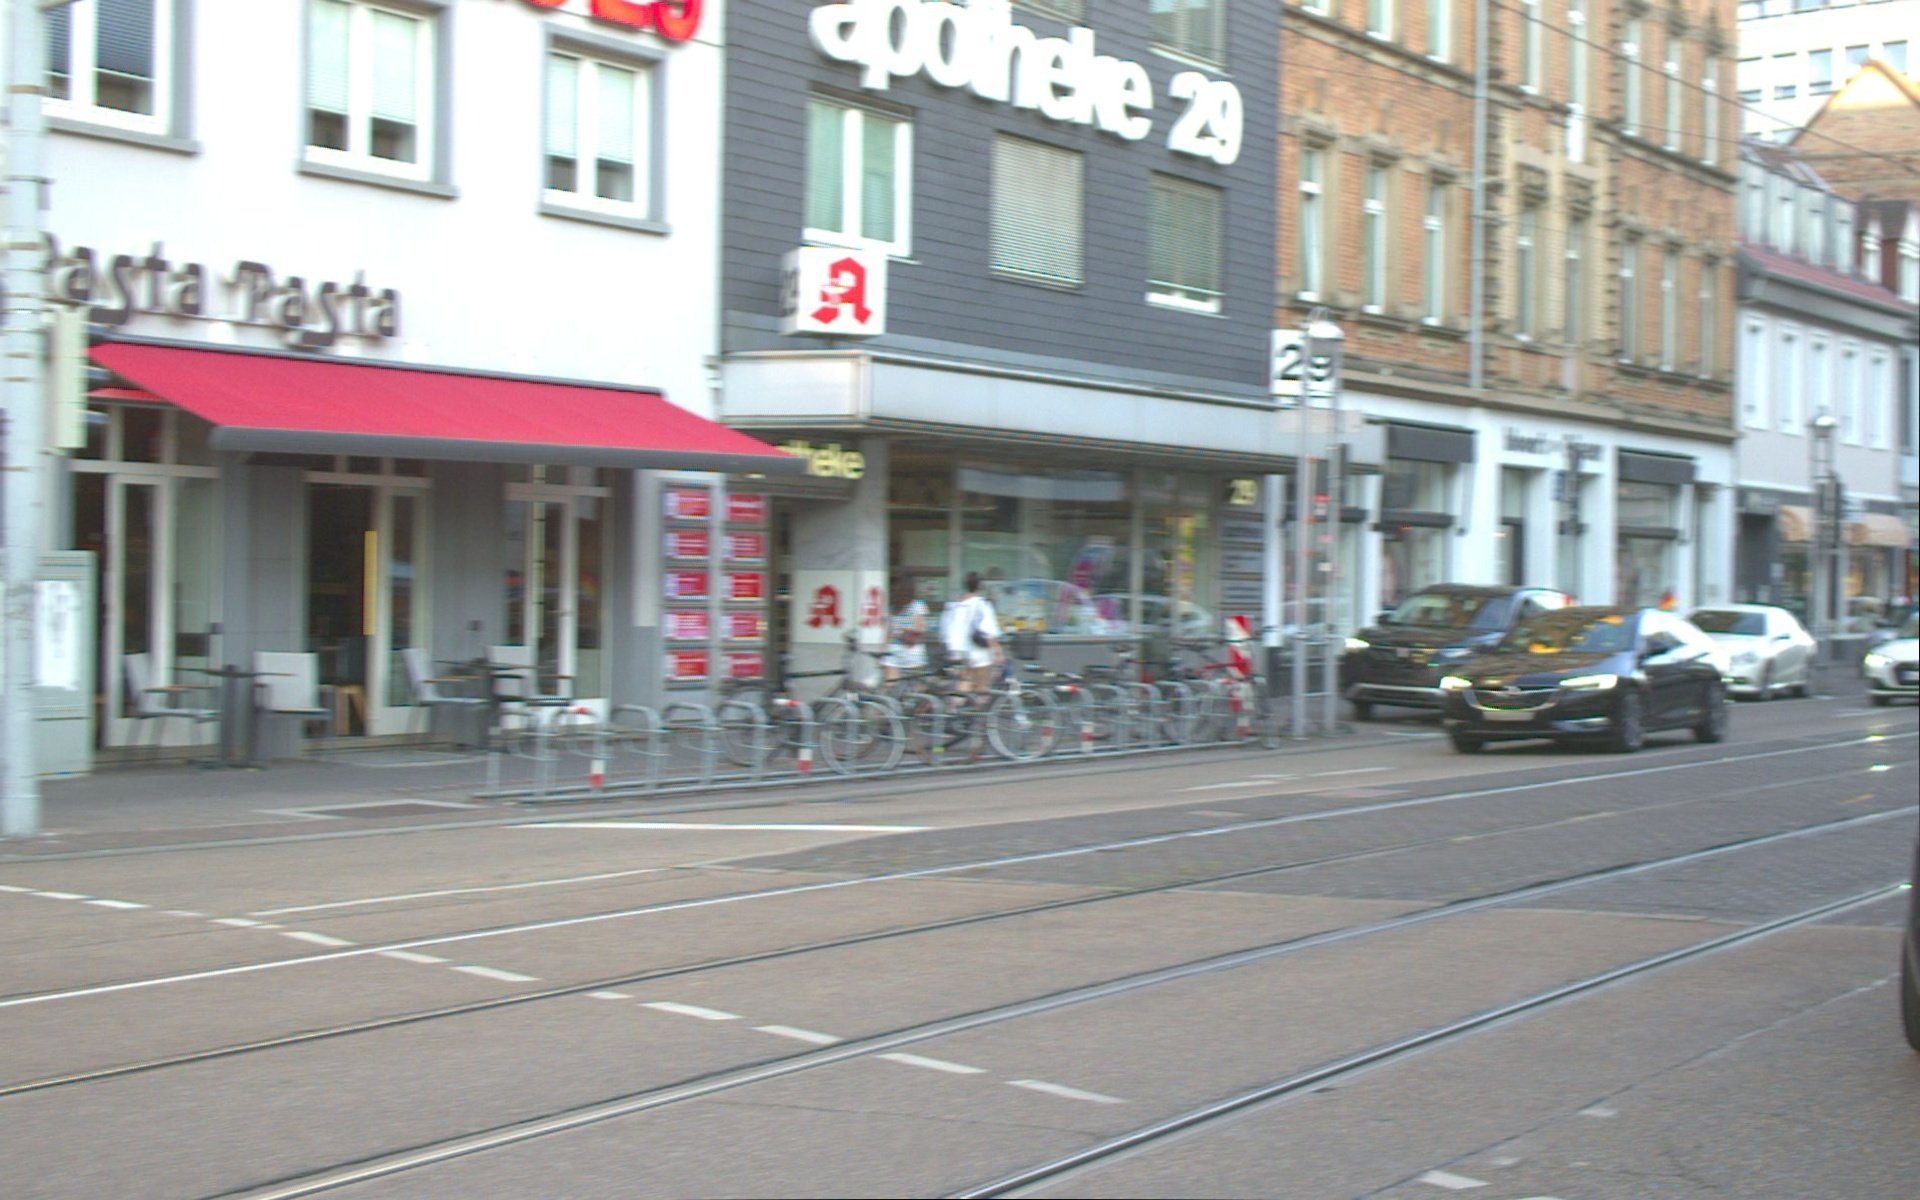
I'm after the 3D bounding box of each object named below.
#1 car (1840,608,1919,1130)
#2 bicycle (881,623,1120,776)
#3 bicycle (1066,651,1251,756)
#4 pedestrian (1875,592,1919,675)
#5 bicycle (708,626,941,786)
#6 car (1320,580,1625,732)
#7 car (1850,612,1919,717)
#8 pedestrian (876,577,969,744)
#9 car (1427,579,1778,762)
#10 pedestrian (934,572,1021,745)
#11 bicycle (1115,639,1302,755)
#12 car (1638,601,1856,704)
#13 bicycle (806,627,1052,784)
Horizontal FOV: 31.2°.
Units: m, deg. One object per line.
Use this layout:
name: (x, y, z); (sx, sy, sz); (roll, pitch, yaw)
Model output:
car: (4.423, 0.842, 11.568); (1.956, 1.493, 4.458); (2, 0, 26)
bicycle: (0.359, 0.888, 31.243); (2.116, 1.219, 0.552); (4, 2, 30)
bicycle: (1.984, 1.030, 34.531); (1.808, 0.909, 0.455); (4, 3, 30)
pedestrian: (18.890, 0.669, 69.300); (0.663, 1.638, 0.693); (1, 0, 30)
bicycle: (-1.147, 0.874, 28.833); (1.894, 1.207, 0.552); (3, 1, 30)
car: (6.269, 0.637, 41.598); (1.934, 1.669, 4.637); (2, 1, 32)
car: (14.561, 0.922, 49.810); (1.997, 1.448, 4.648); (1, 0, 30)
pedestrian: (-0.377, 0.599, 34.682); (0.683, 1.655, 0.623); (2, 1, 29)
car: (6.602, 0.694, 34.928); (1.997, 1.721, 4.719); (-1, -1, 30)
pedestrian: (0.177, 0.576, 34.370); (0.621, 1.693, 0.601); (2, 1, 29)
bicycle: (2.535, 0.980, 35.174); (1.834, 1.043, 0.488); (4, 3, 30)
car: (11.904, 0.770, 51.801); (1.872, 1.448, 4.602); (1, 0, 30)
bicycle: (-0.284, 0.905, 30.103); (2.115, 1.220, 0.552); (3, 1, 30)
